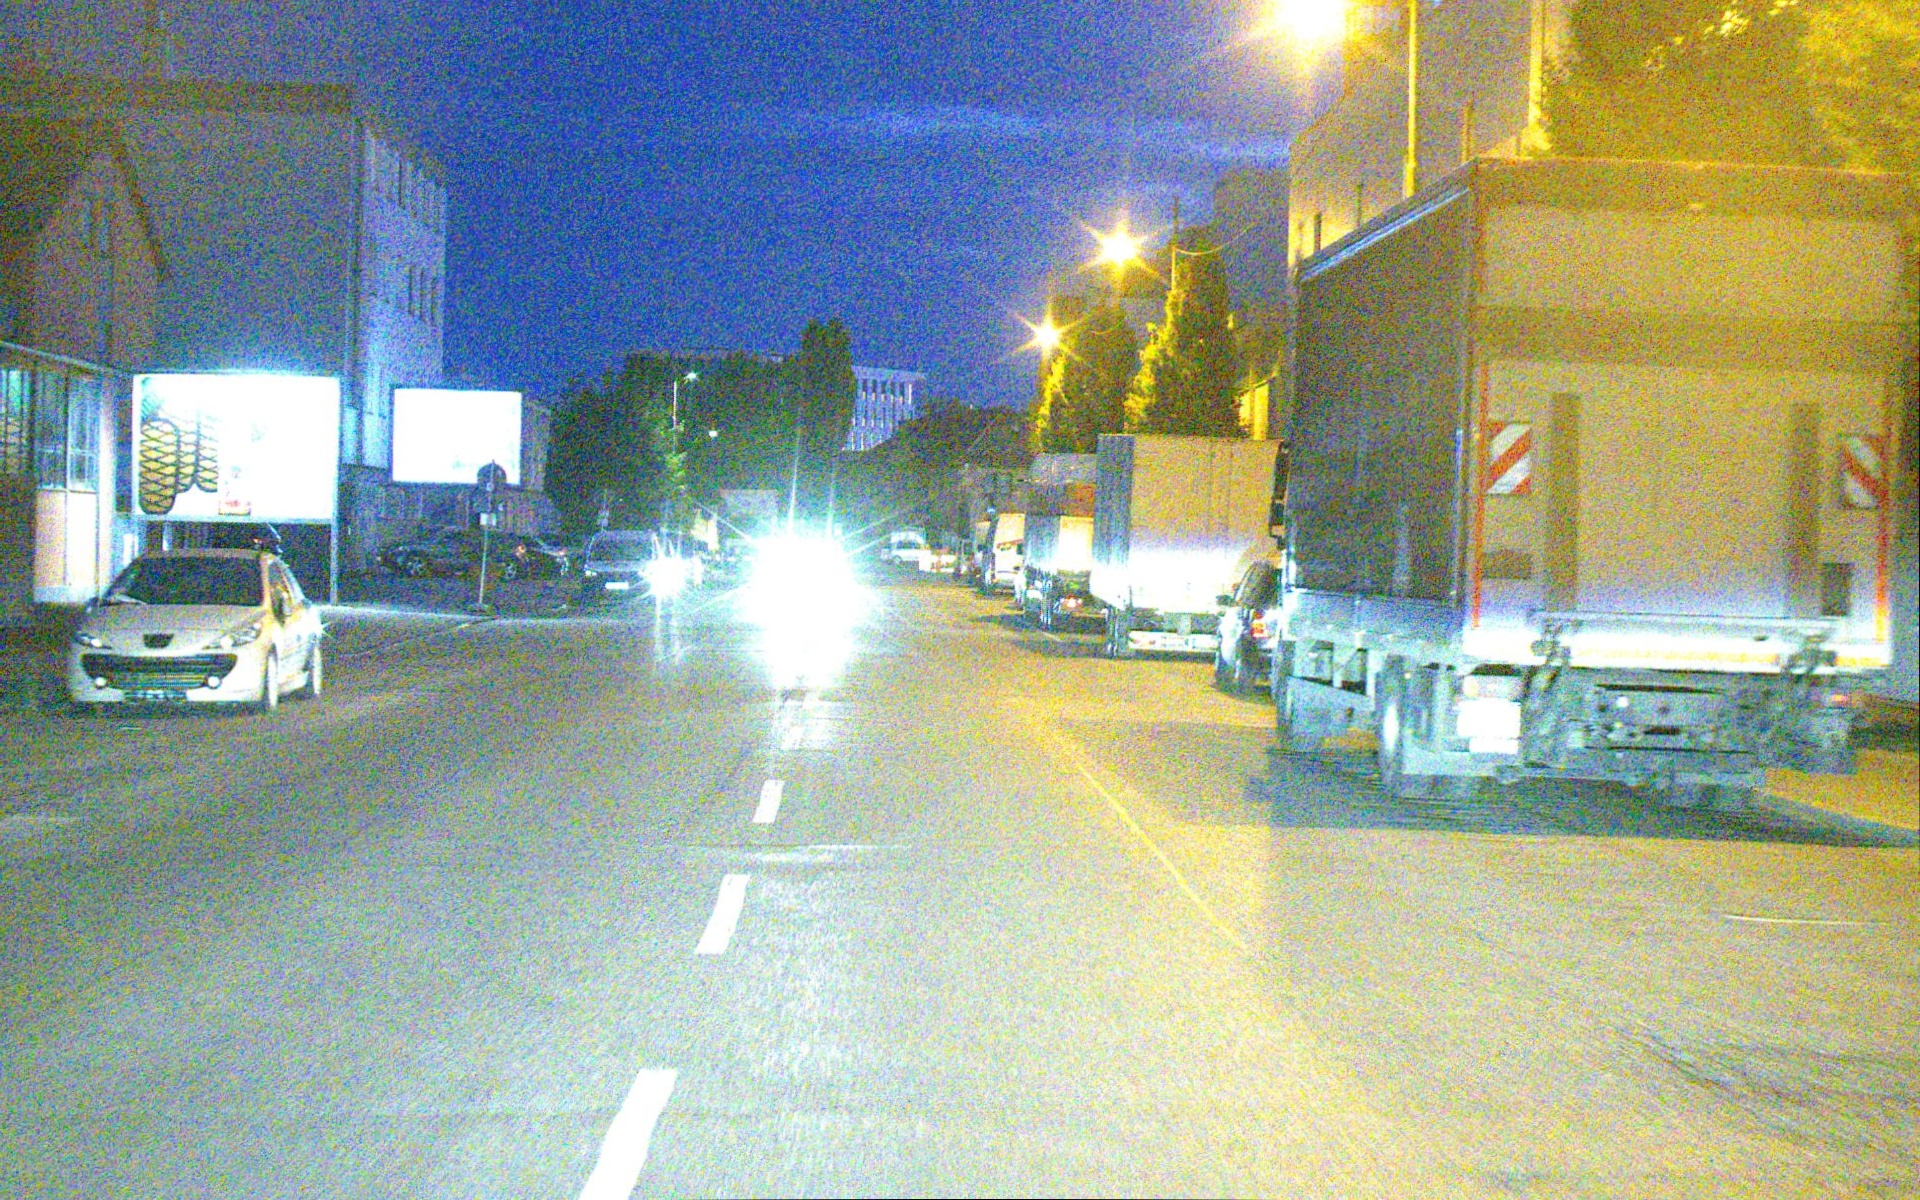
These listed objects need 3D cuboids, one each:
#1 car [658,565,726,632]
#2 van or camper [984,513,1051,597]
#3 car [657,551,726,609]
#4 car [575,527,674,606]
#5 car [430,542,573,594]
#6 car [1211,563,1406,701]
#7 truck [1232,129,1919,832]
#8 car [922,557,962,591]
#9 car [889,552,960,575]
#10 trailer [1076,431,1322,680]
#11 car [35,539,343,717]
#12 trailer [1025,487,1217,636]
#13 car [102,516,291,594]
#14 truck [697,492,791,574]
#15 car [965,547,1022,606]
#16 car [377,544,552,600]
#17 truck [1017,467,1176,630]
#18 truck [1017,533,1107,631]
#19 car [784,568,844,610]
[{"bbox_3d":[-7.341,-0.056,94.397,1.678,1.730,4.356,2,1,-3],"label":"car"},{"bbox_3d":[1.818,-1.427,110.276,1.993,2.573,4.915,2,1,0],"label":"van or camper"},{"bbox_3d":[-8.474,-0.653,108.724,1.897,1.730,4.356,2,1,-1],"label":"car"},{"bbox_3d":[-8.080,-0.815,83.094,1.993,1.788,4.000,2,1,-1],"label":"car"},{"bbox_3d":[-14.372,-0.993,107.816,3.986,1.589,2.000,0,0,-27],"label":"car"},{"bbox_3d":[4.005,0.351,40.017,1.852,1.514,3.818,0,0,0],"label":"car"},{"bbox_3d":[4.302,-0.674,24.693,3.520,3.970,10.343,0,0,-2],"label":"truck"},{"bbox_3d":[-0.972,-1.376,181.022,1.993,1.678,4.000,2,1,-1],"label":"car"},{"bbox_3d":[-2.300,-2.396,225.550,4.531,1.375,2.000,2,0,3],"label":"car"},{"bbox_3d":[3.539,-0.647,52.919,2.686,3.453,7.810,2,0,-3],"label":"trailer"},{"bbox_3d":[-6.729,0.213,30.414,1.841,1.415,4.000,2,1,-1],"label":"car"},{"bbox_3d":[3.088,-0.721,69.241,3.184,2.739,10.715,0,0,-1],"label":"trailer"},{"bbox_3d":[-17.709,-1.040,79.860,3.986,1.645,2.000,2,0,-3],"label":"car"},{"bbox_3d":[-10.101,-3.079,160.118,3.889,3.609,8.262,2,1,-6],"label":"truck"},{"bbox_3d":[1.265,-0.893,130.677,1.993,2.138,4.000,2,1,-1],"label":"car"},{"bbox_3d":[-14.352,-0.810,99.478,4.612,1.480,2.001,2,1,-23],"label":"car"},{"bbox_3d":[2.961,-1.091,76.381,3.151,3.452,6.673,0,0,-1],"label":"truck"},{"bbox_3d":[2.589,-0.474,88.550,1.993,2.399,5.293,2,1,-1],"label":"truck"},{"bbox_3d":[-5.209,-0.401,123.376,1.993,1.393,4.000,2,1,-1],"label":"car"}]
